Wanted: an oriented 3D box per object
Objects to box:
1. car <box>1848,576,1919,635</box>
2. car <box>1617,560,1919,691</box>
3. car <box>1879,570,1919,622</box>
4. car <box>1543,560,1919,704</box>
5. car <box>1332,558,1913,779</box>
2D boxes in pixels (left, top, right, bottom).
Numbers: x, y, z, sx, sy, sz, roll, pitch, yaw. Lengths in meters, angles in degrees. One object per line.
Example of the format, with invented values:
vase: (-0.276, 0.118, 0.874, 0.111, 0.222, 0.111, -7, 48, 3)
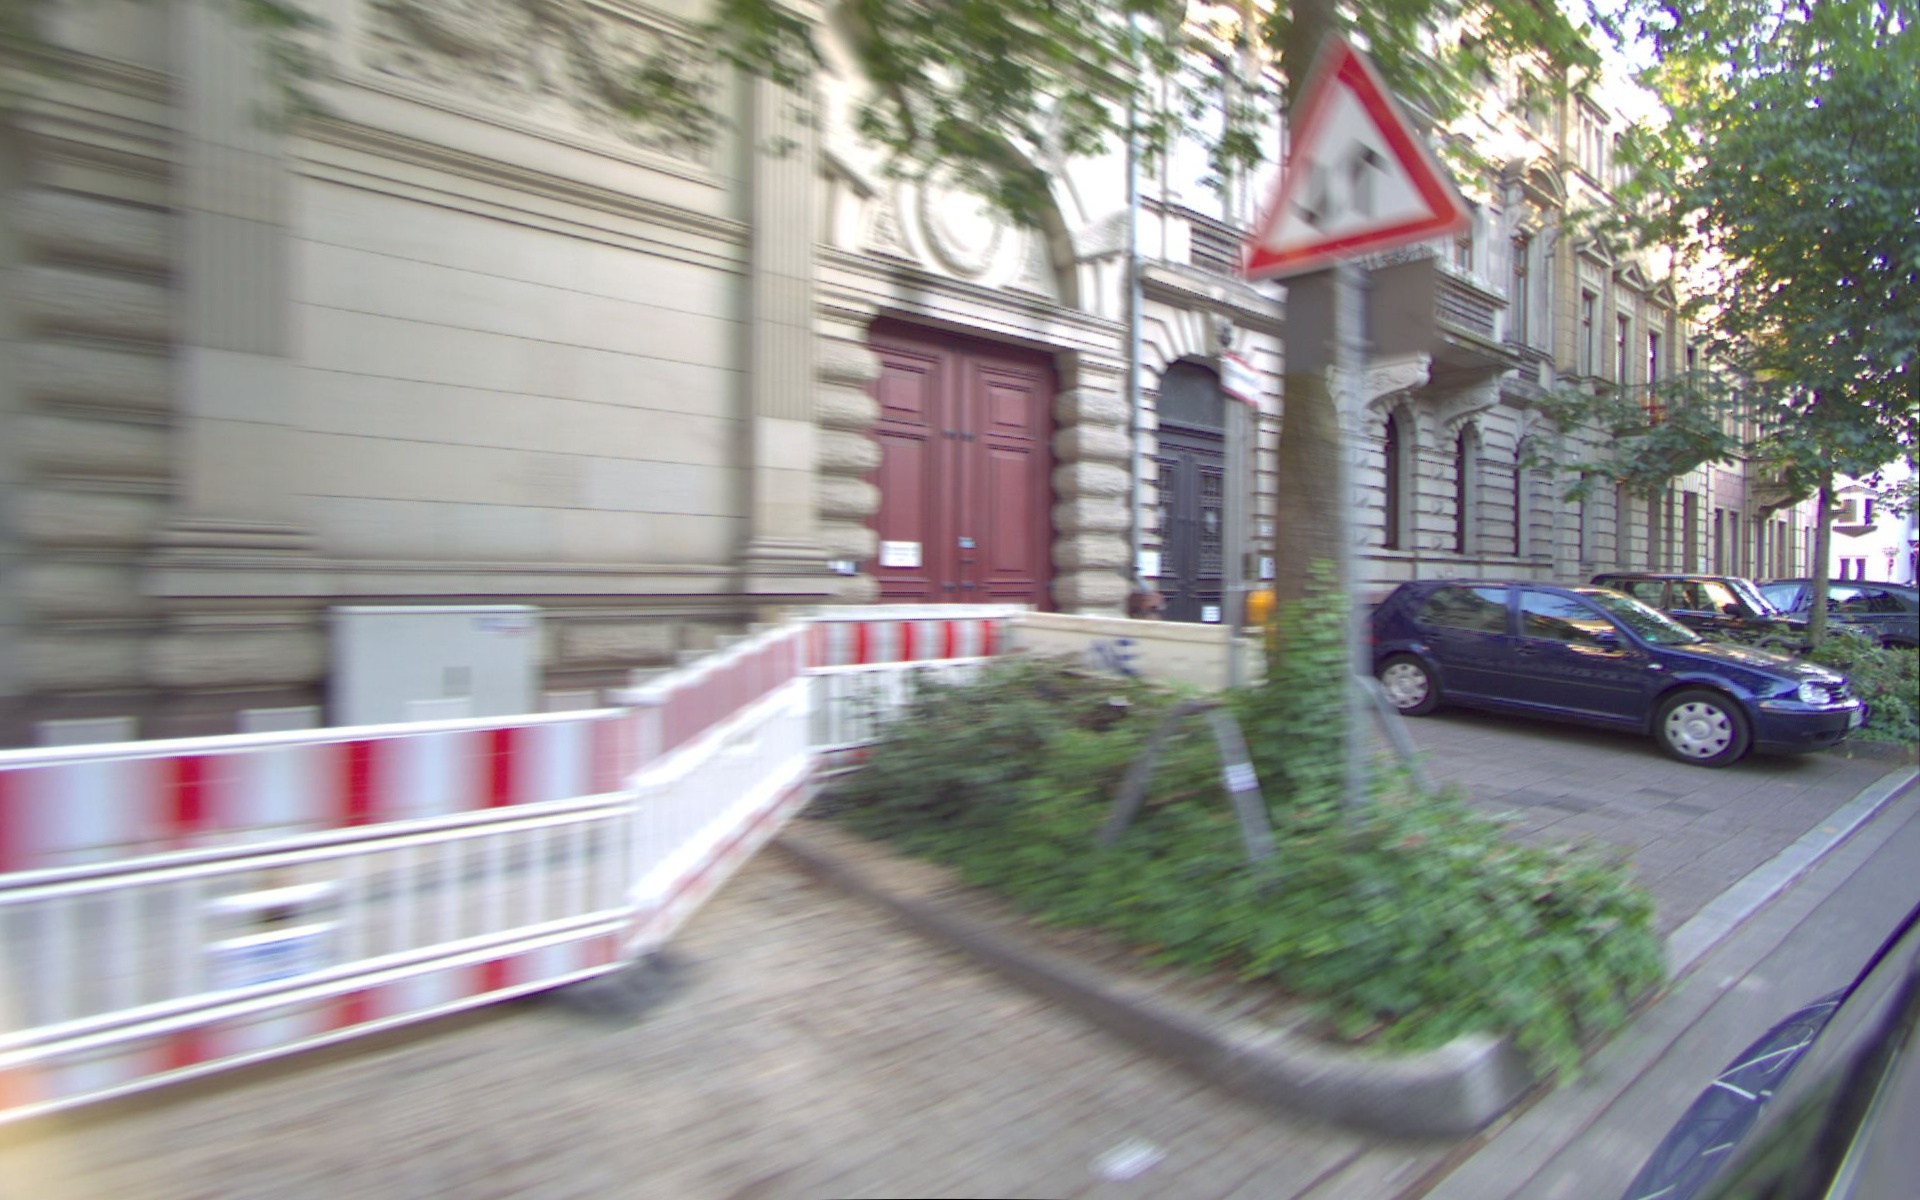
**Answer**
car: (25.453, 0.216, 25.861, 1.750, 1.445, 3.875, 0, 4, -41)
car: (12.824, 0.284, 15.317, 1.933, 1.738, 4.451, -1, 3, -39)
car: (30.969, -0.006, 30.516, 1.829, 1.580, 4.432, 1, 3, -32)
car: (10.661, 0.327, 14.123, 1.733, 1.708, 4.017, 0, 1, -39)
car: (5.987, 0.428, 9.616, 1.821, 1.499, 4.235, 0, 4, -39)
